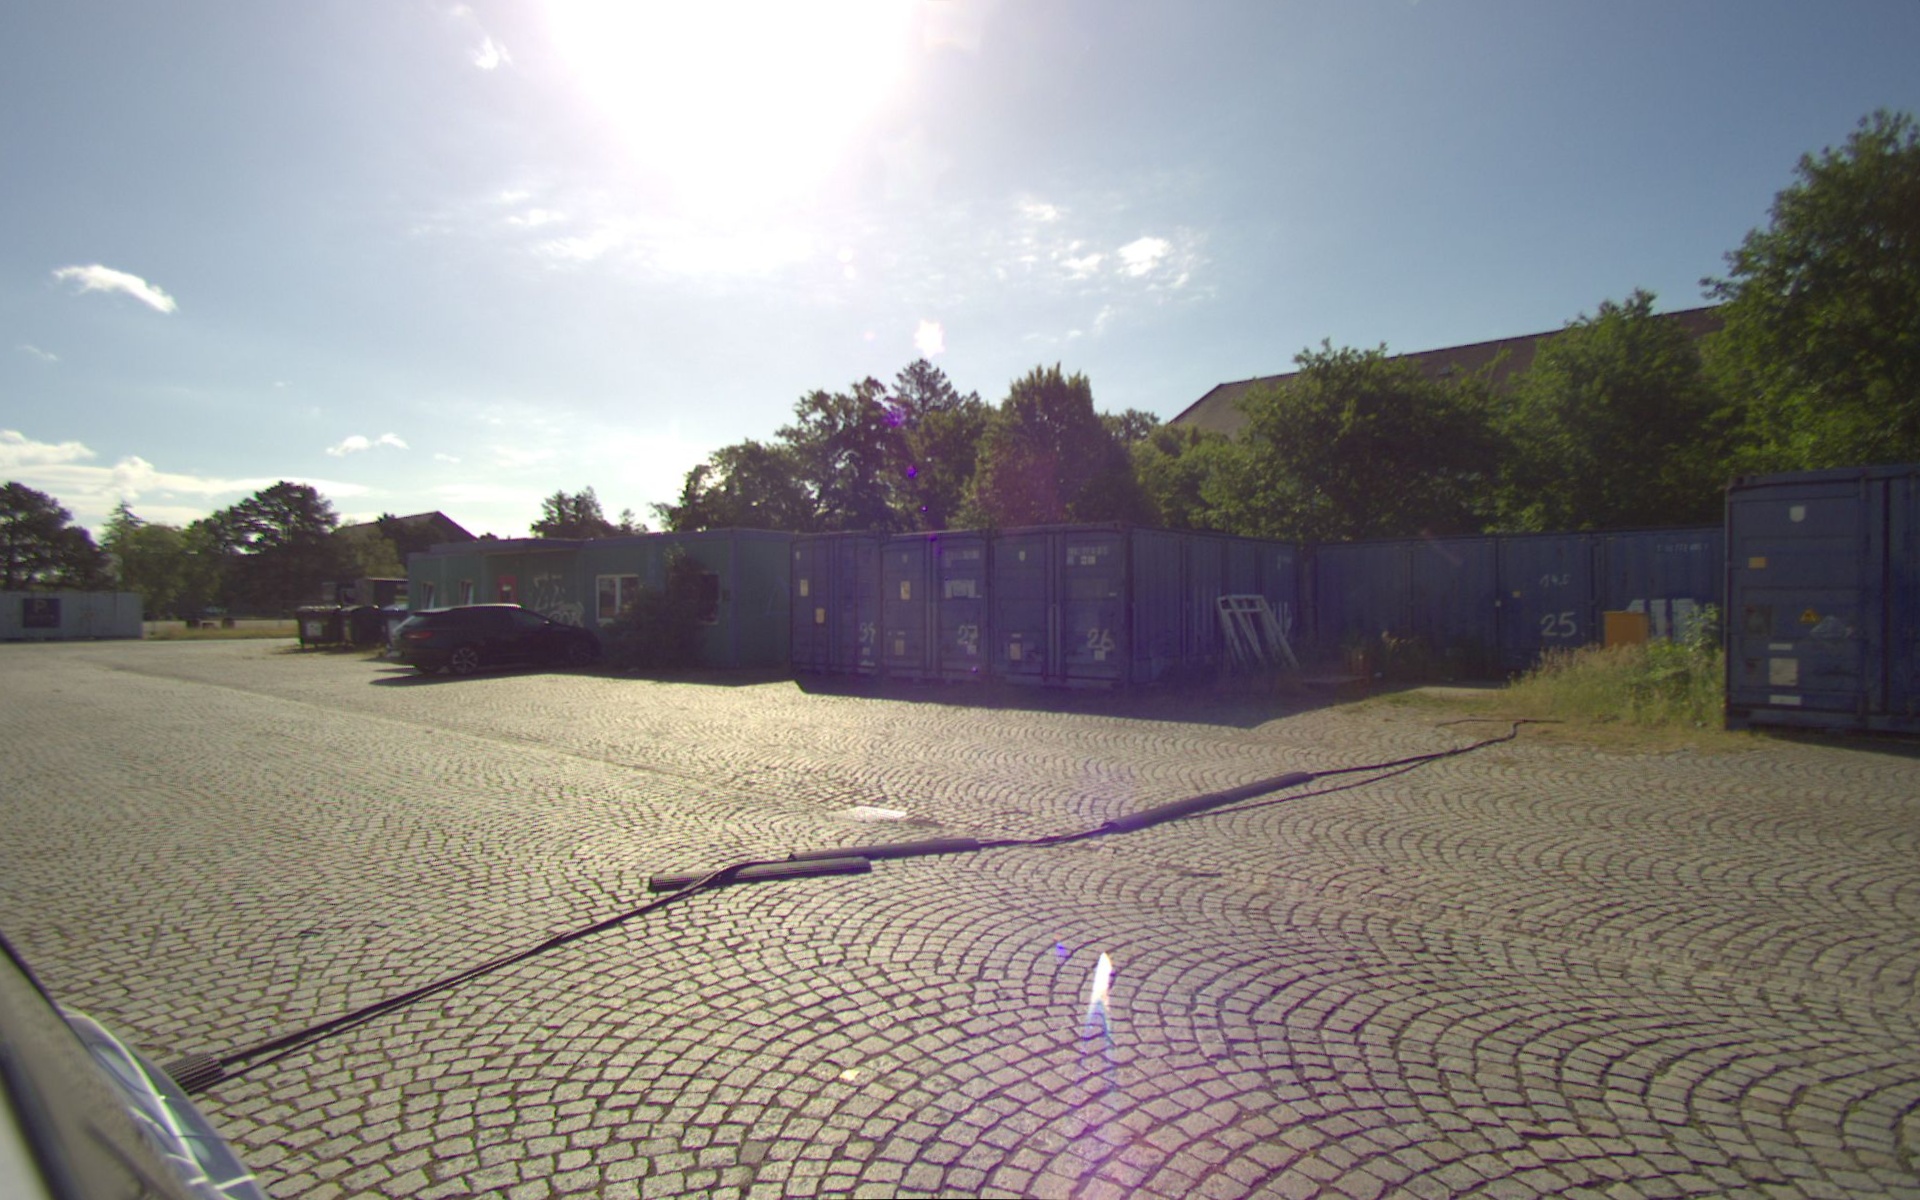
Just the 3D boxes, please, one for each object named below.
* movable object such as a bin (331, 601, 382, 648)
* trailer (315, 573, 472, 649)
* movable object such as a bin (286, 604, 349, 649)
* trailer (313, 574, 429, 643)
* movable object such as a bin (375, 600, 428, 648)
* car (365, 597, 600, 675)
[{"bbox_3d":[-19.652,0.780,32.957,1.439,1.469,1.007,0,1,40],"label":"movable object such as a bin"},{"bbox_3d":[-20.574,0.345,36.921,1.948,2.587,4.594,0,1,36],"label":"trailer"},{"bbox_3d":[-21.560,0.880,33.968,1.416,1.469,1.158,-1,1,-6],"label":"movable object such as a bin"},{"bbox_3d":[-22.406,0.282,38.546,2.044,2.488,3.349,0,1,41],"label":"trailer"},{"bbox_3d":[-17.905,0.749,32.423,1.435,1.469,0.876,0,1,30],"label":"movable object such as a bin"},{"bbox_3d":[-10.255,0.699,21.979,1.929,1.460,4.210,0,1,39],"label":"car"}]
